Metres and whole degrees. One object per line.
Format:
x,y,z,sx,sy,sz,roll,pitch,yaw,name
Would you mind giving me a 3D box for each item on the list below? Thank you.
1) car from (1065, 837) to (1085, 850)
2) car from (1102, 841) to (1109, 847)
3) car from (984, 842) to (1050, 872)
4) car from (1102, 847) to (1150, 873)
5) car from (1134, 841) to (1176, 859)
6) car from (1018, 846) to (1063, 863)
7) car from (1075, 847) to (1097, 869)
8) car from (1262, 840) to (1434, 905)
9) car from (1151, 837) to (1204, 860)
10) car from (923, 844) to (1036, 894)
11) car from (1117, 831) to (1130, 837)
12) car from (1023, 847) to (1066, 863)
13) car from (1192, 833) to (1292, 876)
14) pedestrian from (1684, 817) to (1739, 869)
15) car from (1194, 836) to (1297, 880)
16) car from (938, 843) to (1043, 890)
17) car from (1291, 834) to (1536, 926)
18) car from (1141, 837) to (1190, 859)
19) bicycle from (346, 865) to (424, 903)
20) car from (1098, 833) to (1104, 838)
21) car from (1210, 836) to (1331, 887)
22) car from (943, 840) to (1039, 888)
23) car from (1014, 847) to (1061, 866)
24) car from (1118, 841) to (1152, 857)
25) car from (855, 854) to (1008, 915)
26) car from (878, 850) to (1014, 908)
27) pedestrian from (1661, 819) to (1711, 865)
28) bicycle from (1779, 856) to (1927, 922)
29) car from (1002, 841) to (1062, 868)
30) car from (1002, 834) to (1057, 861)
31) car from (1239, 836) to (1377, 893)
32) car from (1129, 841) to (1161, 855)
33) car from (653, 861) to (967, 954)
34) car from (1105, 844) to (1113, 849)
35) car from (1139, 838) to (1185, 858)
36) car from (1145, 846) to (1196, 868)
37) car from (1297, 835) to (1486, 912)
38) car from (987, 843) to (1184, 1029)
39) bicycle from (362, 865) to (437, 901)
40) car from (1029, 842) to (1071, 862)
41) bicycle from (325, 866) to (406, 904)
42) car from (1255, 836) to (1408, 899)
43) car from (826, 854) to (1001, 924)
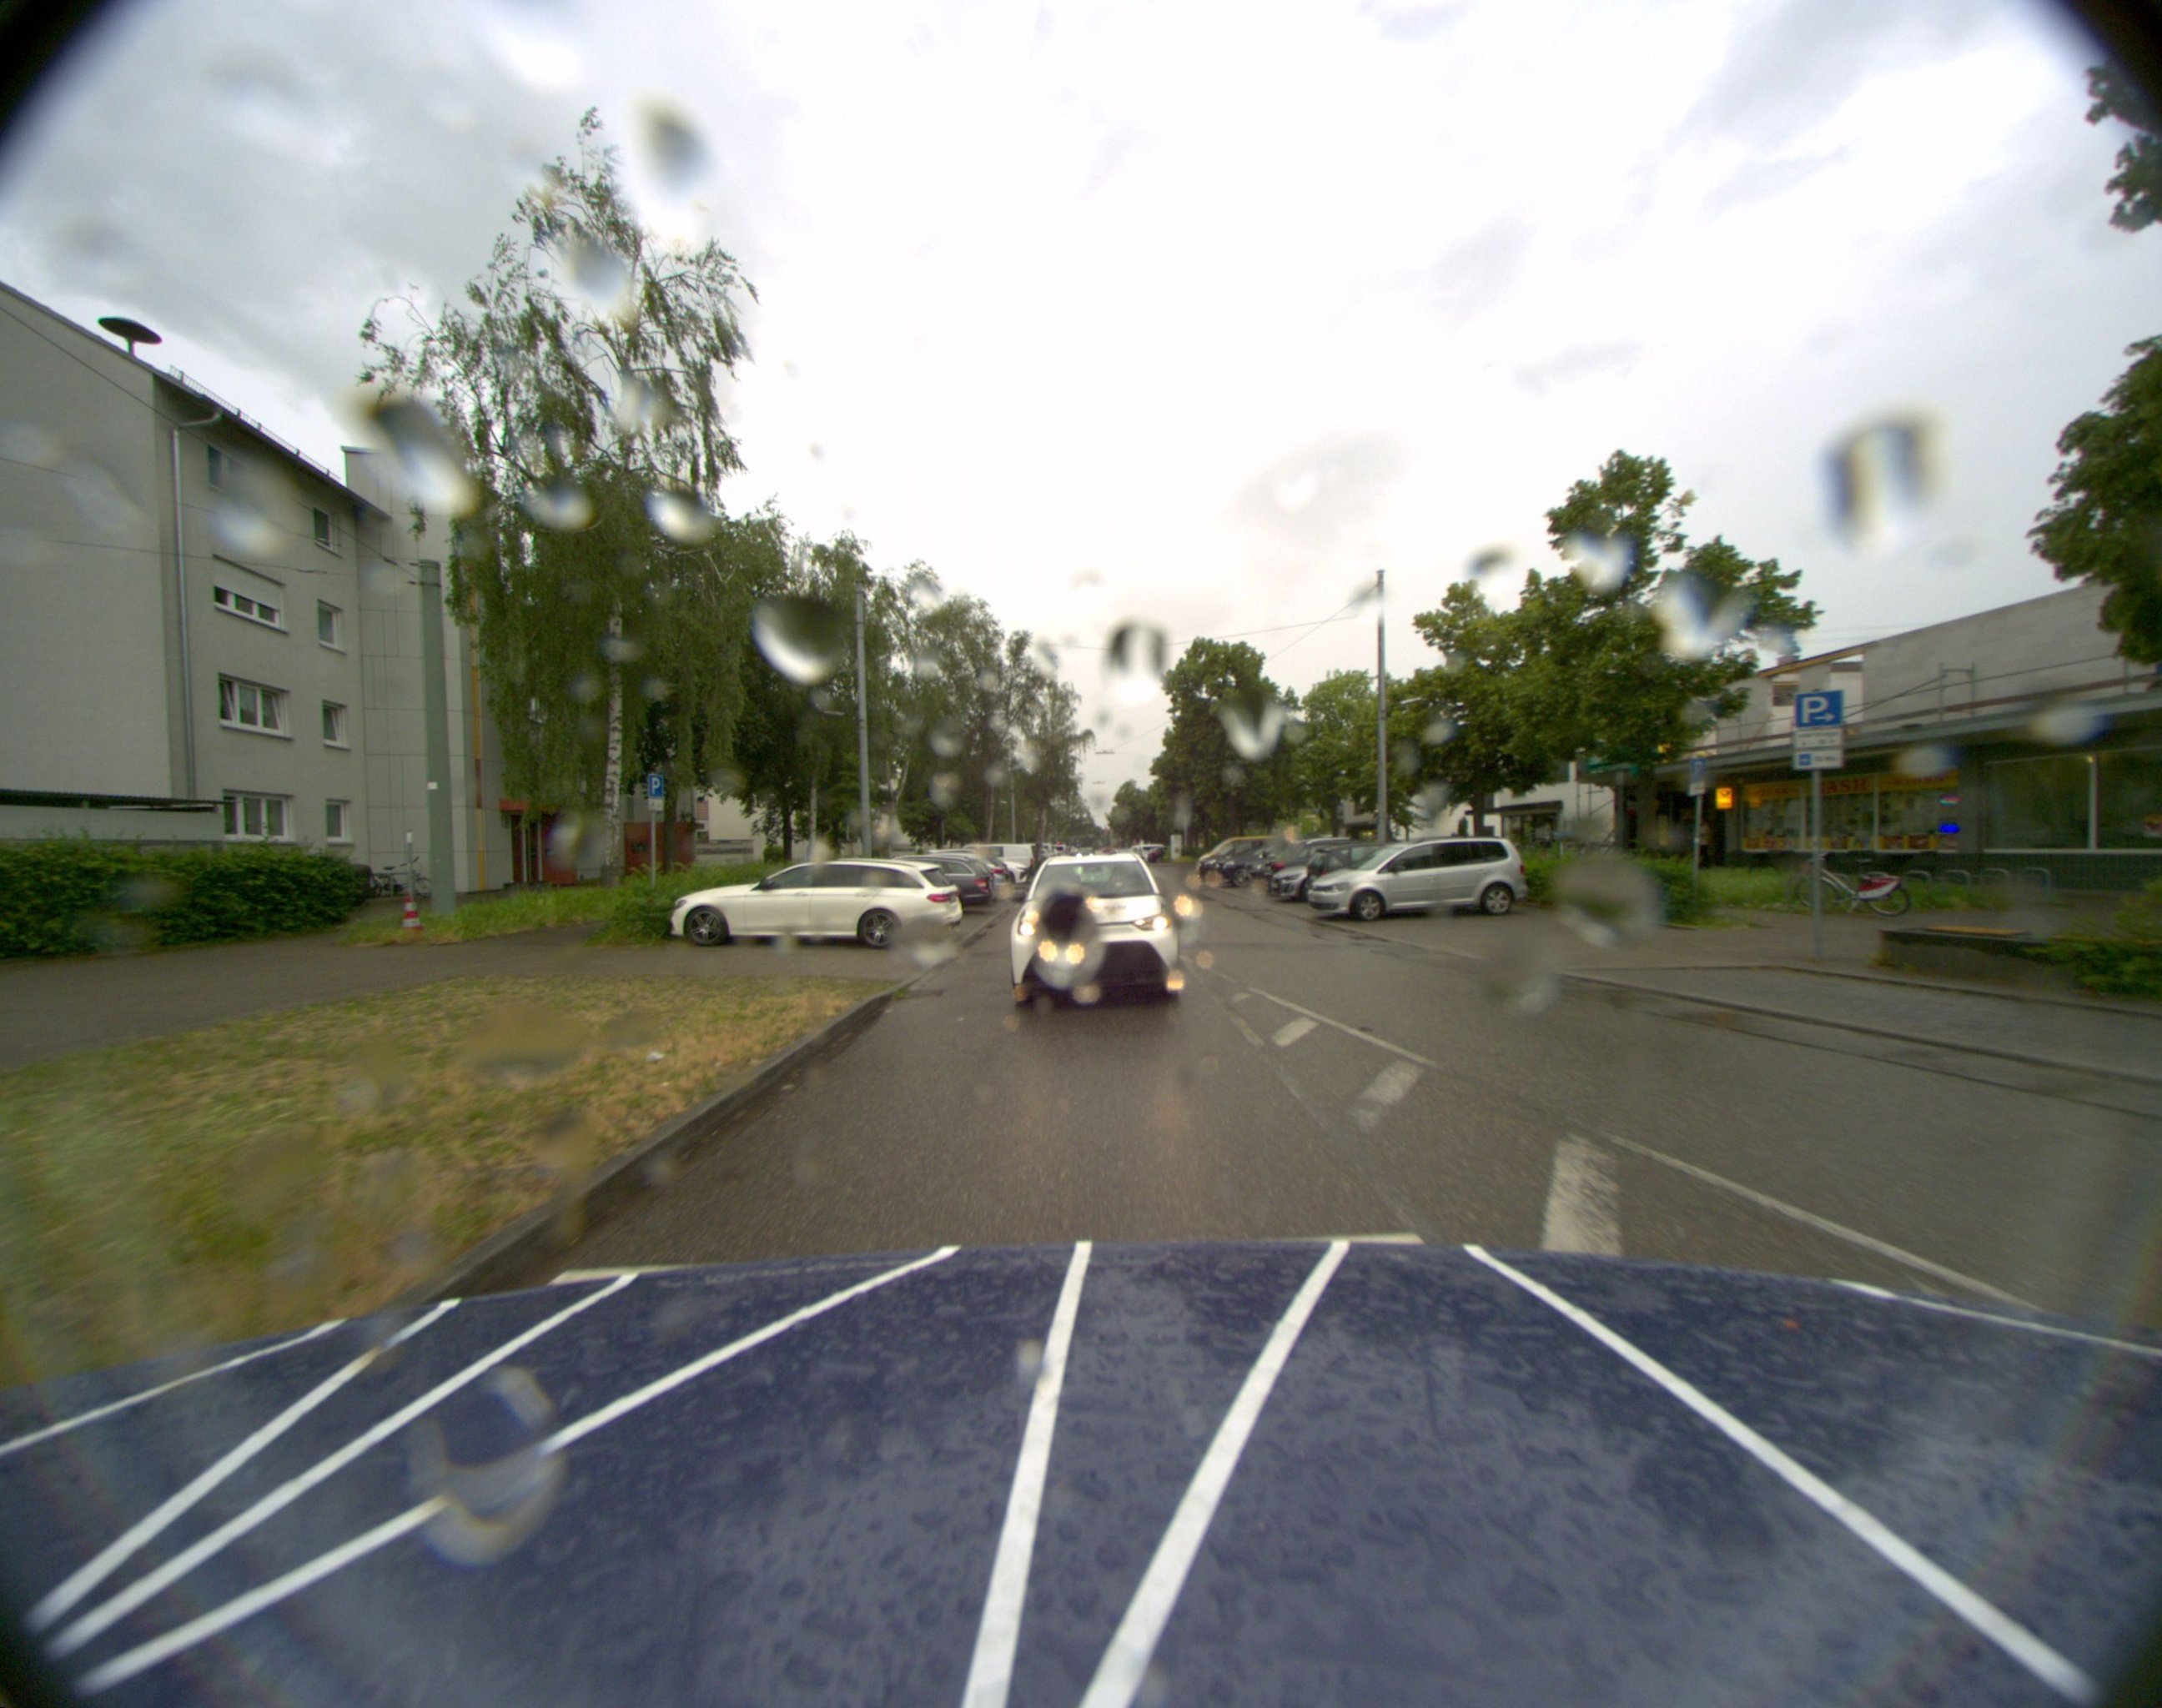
-1.390,-2.425,175.425,4.546,2.929,1.898,-2,1,-1,car
7.491,-2.917,228.382,1.998,1.716,4.000,-3,1,2,car
-4.543,0.180,54.492,4.546,1.932,1.898,-2,1,-1,car
3.077,0.386,53.271,1.965,1.545,3.992,-3,3,-19,car
8.422,-0.466,86.978,4.546,1.932,1.898,-2,1,0,car
-4.148,0.025,78.579,4.546,1.574,1.898,-2,1,-1,car
0.466,0.345,75.153,1.999,2.002,3.999,-3,1,-1,car
7.395,0.496,21.365,4.088,1.562,2.000,-2,1,-1,car
8.817,-0.525,69.619,4.546,1.932,1.898,-2,1,-1,car
-4.258,0.599,32.241,4.441,1.835,1.723,-3,1,2,car
13.628,-6.304,241.926,3.997,1.688,2.000,-3,1,0,car
-3.922,0.094,82.156,4.546,1.574,1.898,-2,1,-1,car
7.985,0.014,37.961,4.546,1.932,1.898,-2,1,-1,car
21.160,-0.375,25.532,1.078,1.704,0.948,-1,2,11,pedestrian
7.542,0.155,35.103,4.303,1.799,1.898,-2,1,-1,car
-4.052,0.549,34.600,4.441,1.835,1.723,-3,1,2,car
6.995,0.514,16.331,4.335,1.664,2.000,-2,1,-1,car
8.290,-0.579,74.839,4.546,1.932,1.898,-2,1,-1,car
-19.224,0.818,21.012,1.476,0.946,0.532,-2,1,-13,bicycle
6.307,-5.883,240.688,1.998,1.670,4.000,-3,1,2,car
7.185,0.273,29.042,4.088,1.699,1.898,-2,1,-1,car
-4.382,0.478,37.517,4.443,2.050,1.722,-3,1,-3,car
-4.269,0.234,75.383,4.546,1.574,1.898,-2,1,-1,car
7.447,-0.695,105.033,4.546,1.932,1.898,-2,1,-1,car
-4.269,0.858,22.080,3.996,1.477,1.723,-3,1,2,car
-4.320,0.793,24.726,3.996,1.577,1.723,-3,1,2,car
21.430,-0.417,26.930,1.078,1.575,0.948,-1,2,11,pedestrian
13.553,0.573,13.405,0.594,1.066,1.748,-1,1,-17,bicycle
-3.787,0.050,59.850,4.546,1.932,1.898,-2,1,-1,car
-4.330,-0.560,64.179,4.443,2.050,1.722,-3,1,-3,car
7.657,0.341,25.917,4.088,1.699,1.898,-2,1,-1,car
9.492,-0.908,112.419,4.546,1.932,1.898,-2,1,-1,car
-4.613,0.882,13.475,4.838,1.449,2.000,0,1,1,car
8.154,-2.263,220.137,1.998,1.320,3.999,-3,1,1,car
8.448,-0.656,79.693,4.546,1.932,1.898,-2,1,-1,car
8.446,0.256,72.314,4.546,1.932,1.898,-2,1,-1,car
7.630,0.449,18.945,3.945,1.664,1.793,-2,1,-1,car
0.149,0.769,8.653,1.719,1.614,3.716,-2,-1,4,car
-19.368,0.814,21.610,1.476,0.946,0.532,-2,1,-13,bicycle
-3.499,-0.213,85.673,4.546,2.013,1.898,-2,1,-1,car
-19.023,0.817,20.229,1.476,0.946,0.532,-2,1,-13,bicycle
7.722,0.401,23.709,4.088,1.699,1.898,-2,1,-1,car
-4.192,0.862,19.427,3.996,1.477,1.723,-3,1,2,car
